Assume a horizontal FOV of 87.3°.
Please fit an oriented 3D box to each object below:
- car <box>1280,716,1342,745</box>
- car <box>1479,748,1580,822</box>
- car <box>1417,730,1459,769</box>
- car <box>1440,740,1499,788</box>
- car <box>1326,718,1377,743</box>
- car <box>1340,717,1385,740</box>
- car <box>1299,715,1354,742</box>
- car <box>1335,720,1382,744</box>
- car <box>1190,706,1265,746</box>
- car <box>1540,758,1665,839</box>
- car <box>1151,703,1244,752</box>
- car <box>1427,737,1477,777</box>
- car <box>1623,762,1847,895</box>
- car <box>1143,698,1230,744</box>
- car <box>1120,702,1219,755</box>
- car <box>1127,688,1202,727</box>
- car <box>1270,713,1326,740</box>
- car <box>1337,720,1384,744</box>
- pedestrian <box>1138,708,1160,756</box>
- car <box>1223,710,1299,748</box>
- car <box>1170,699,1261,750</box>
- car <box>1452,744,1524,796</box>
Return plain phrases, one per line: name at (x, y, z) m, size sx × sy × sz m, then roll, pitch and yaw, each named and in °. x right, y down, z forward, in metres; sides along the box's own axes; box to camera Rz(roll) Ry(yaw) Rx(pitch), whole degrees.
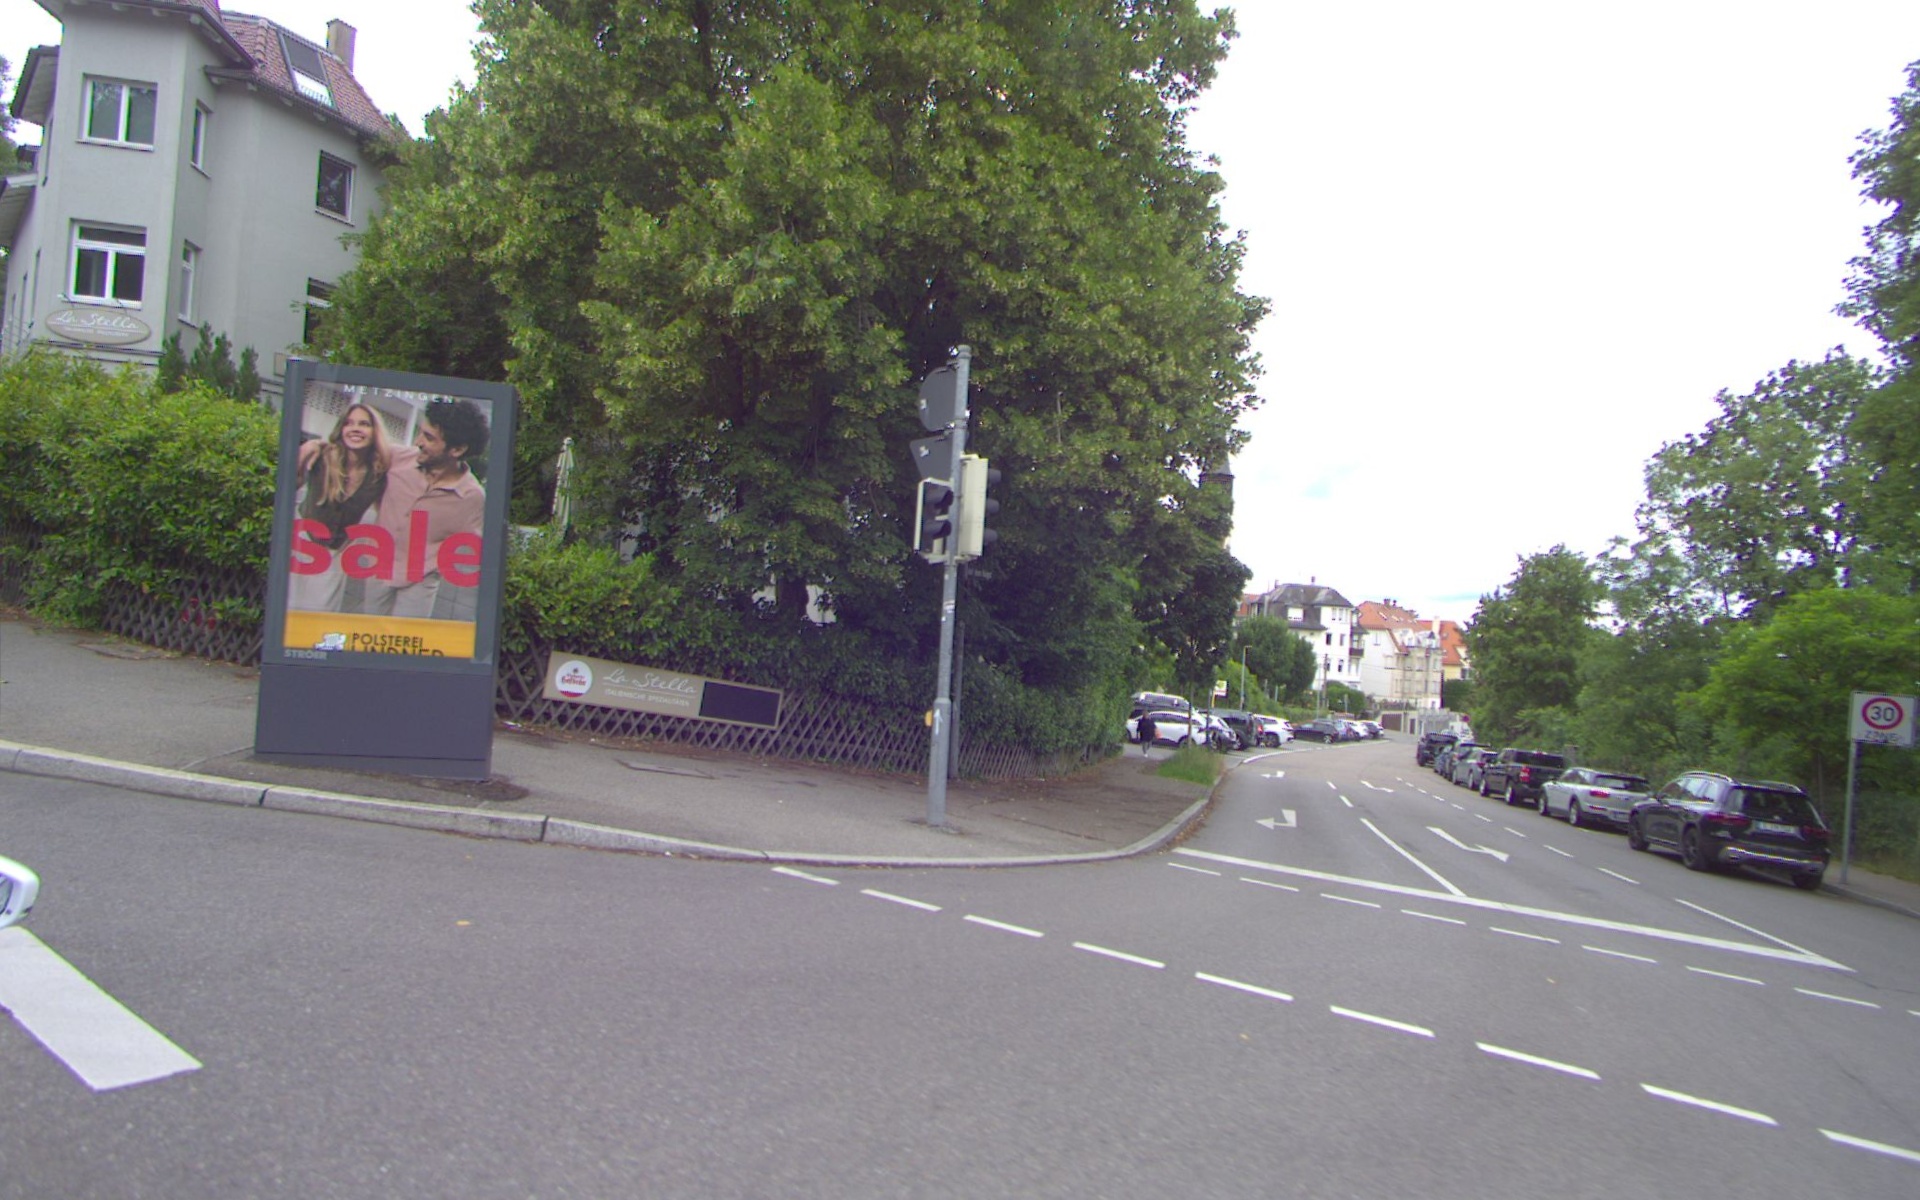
car at (25.257, 9.355, 72.397) m, size 3.912 × 1.470 × 1.570 m, roll 7°, pitch -3°, yaw 26°
car at (17.116, 5.495, 30.424) m, size 1.600 × 1.645 × 4.512 m, roll 7°, pitch -4°, yaw 18°
car at (25.774, 8.047, 54.347) m, size 1.537 × 1.738 × 4.261 m, roll 7°, pitch -4°, yaw 21°
car at (20.988, 6.720, 41.583) m, size 1.537 × 1.529 × 4.047 m, roll 7°, pitch -4°, yaw 20°
car at (33.066, 11.028, 84.934) m, size 3.655 × 1.521 × 1.566 m, roll 6°, pitch -4°, yaw 35°
car at (38.551, 12.333, 96.378) m, size 3.655 × 1.613 × 1.566 m, roll 6°, pitch -3°, yaw 35°
car at (27.980, 9.781, 76.706) m, size 3.647 × 1.470 × 1.875 m, roll 7°, pitch -3°, yaw 26°
car at (36.305, 12.019, 91.660) m, size 3.655 × 1.632 × 1.566 m, roll 6°, pitch -3°, yaw 35°
car at (14.099, 6.645, 53.047) m, size 3.413 × 1.533 × 1.434 m, roll 6°, pitch -3°, yaw 33°
car at (15.911, 4.867, 25.101) m, size 1.599 × 1.470 × 3.785 m, roll 5°, pitch -4°, yaw 18°
car at (9.962, 5.345, 42.270) m, size 3.410 × 1.533 × 1.435 m, roll 6°, pitch -3°, yaw 29°
car at (23.326, 7.417, 47.803) m, size 1.537 × 1.529 × 4.033 m, roll 7°, pitch -4°, yaw 20°
car at (13.773, 3.972, 18.200) m, size 1.714 × 1.636 × 4.276 m, roll 7°, pitch -4°, yaw 18°
car at (10.134, 5.398, 45.033) m, size 3.410 × 1.533 × 1.435 m, roll 6°, pitch -3°, yaw 29°
car at (8.322, 5.101, 40.012) m, size 3.410 × 1.533 × 1.435 m, roll 6°, pitch -3°, yaw 29°
car at (13.531, 7.093, 66.542) m, size 4.472 × 1.897 × 1.936 m, roll 7°, pitch -3°, yaw 20°
car at (25.156, 9.424, 74.922) m, size 3.647 × 1.470 × 1.570 m, roll 7°, pitch -3°, yaw 26°
car at (37.439, 12.358, 94.130) m, size 3.655 × 1.613 × 1.566 m, roll 6°, pitch -3°, yaw 35°
pedestrian at (6.350, 4.444, 33.857) m, size 0.504 × 1.534 × 0.523 m, roll 7°, pitch -2°, yaw 7°
car at (16.671, 7.139, 55.704) m, size 3.651 × 1.526 × 1.568 m, roll 6°, pitch -3°, yaw 31°
car at (11.942, 5.824, 46.996) m, size 3.650 × 1.788 × 1.678 m, roll 6°, pitch -3°, yaw 29°
car at (19.170, 6.146, 36.683) m, size 1.536 × 1.421 × 3.830 m, roll 7°, pitch -4°, yaw 18°
